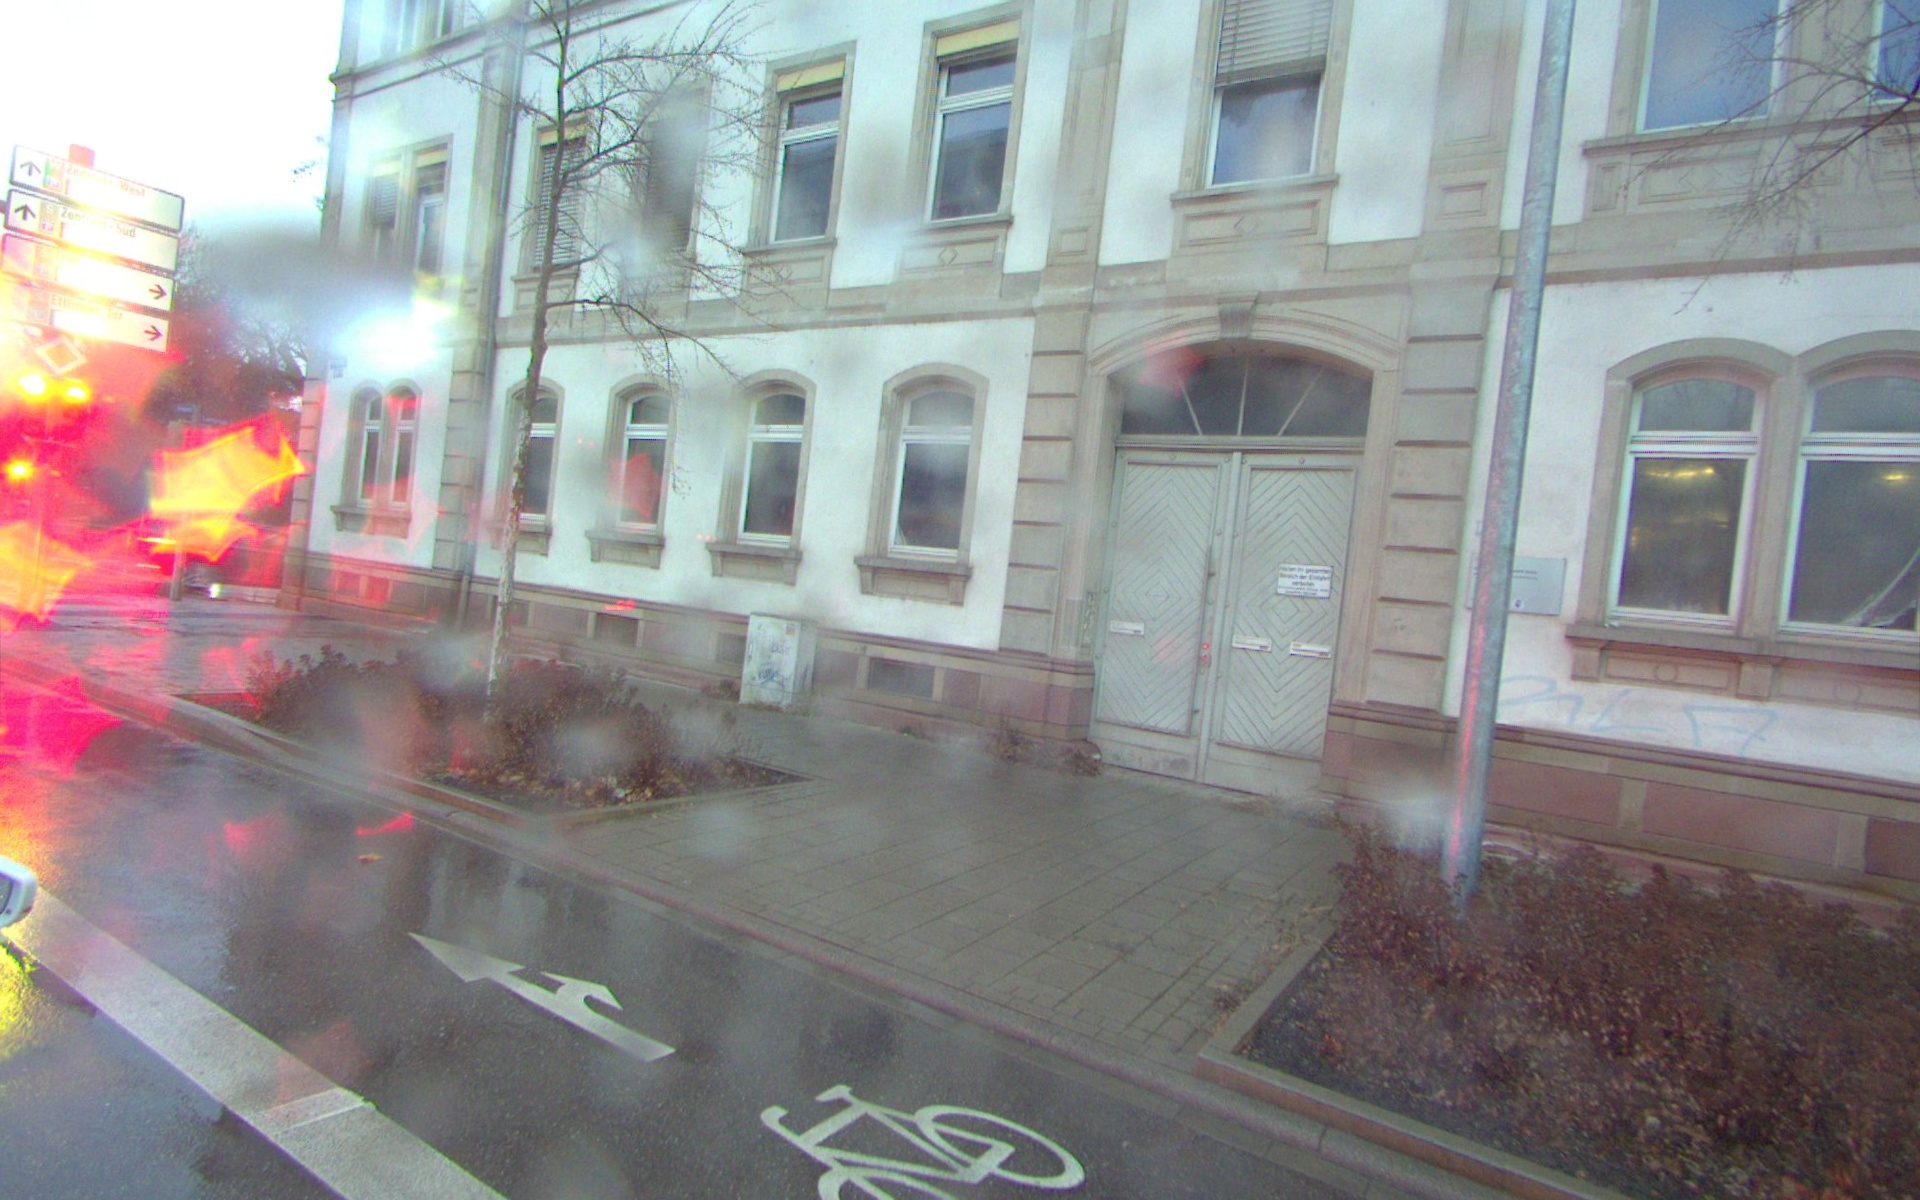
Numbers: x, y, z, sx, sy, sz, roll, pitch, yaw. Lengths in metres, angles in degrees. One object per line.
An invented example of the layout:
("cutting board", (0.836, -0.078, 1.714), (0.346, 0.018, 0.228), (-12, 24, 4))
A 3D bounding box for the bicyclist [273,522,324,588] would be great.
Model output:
("bicyclist", (-19.361, -1.306, 29.446), (0.968, 1.778, 0.805), (8, -2, -39))

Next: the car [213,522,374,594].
("car", (-20.586, -1.273, 31.151), (3.937, 1.571, 1.732), (9, -3, -37))

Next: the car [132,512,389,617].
("car", (-16.312, -0.775, 23.650), (4.674, 1.740, 1.882), (9, -3, -38))
